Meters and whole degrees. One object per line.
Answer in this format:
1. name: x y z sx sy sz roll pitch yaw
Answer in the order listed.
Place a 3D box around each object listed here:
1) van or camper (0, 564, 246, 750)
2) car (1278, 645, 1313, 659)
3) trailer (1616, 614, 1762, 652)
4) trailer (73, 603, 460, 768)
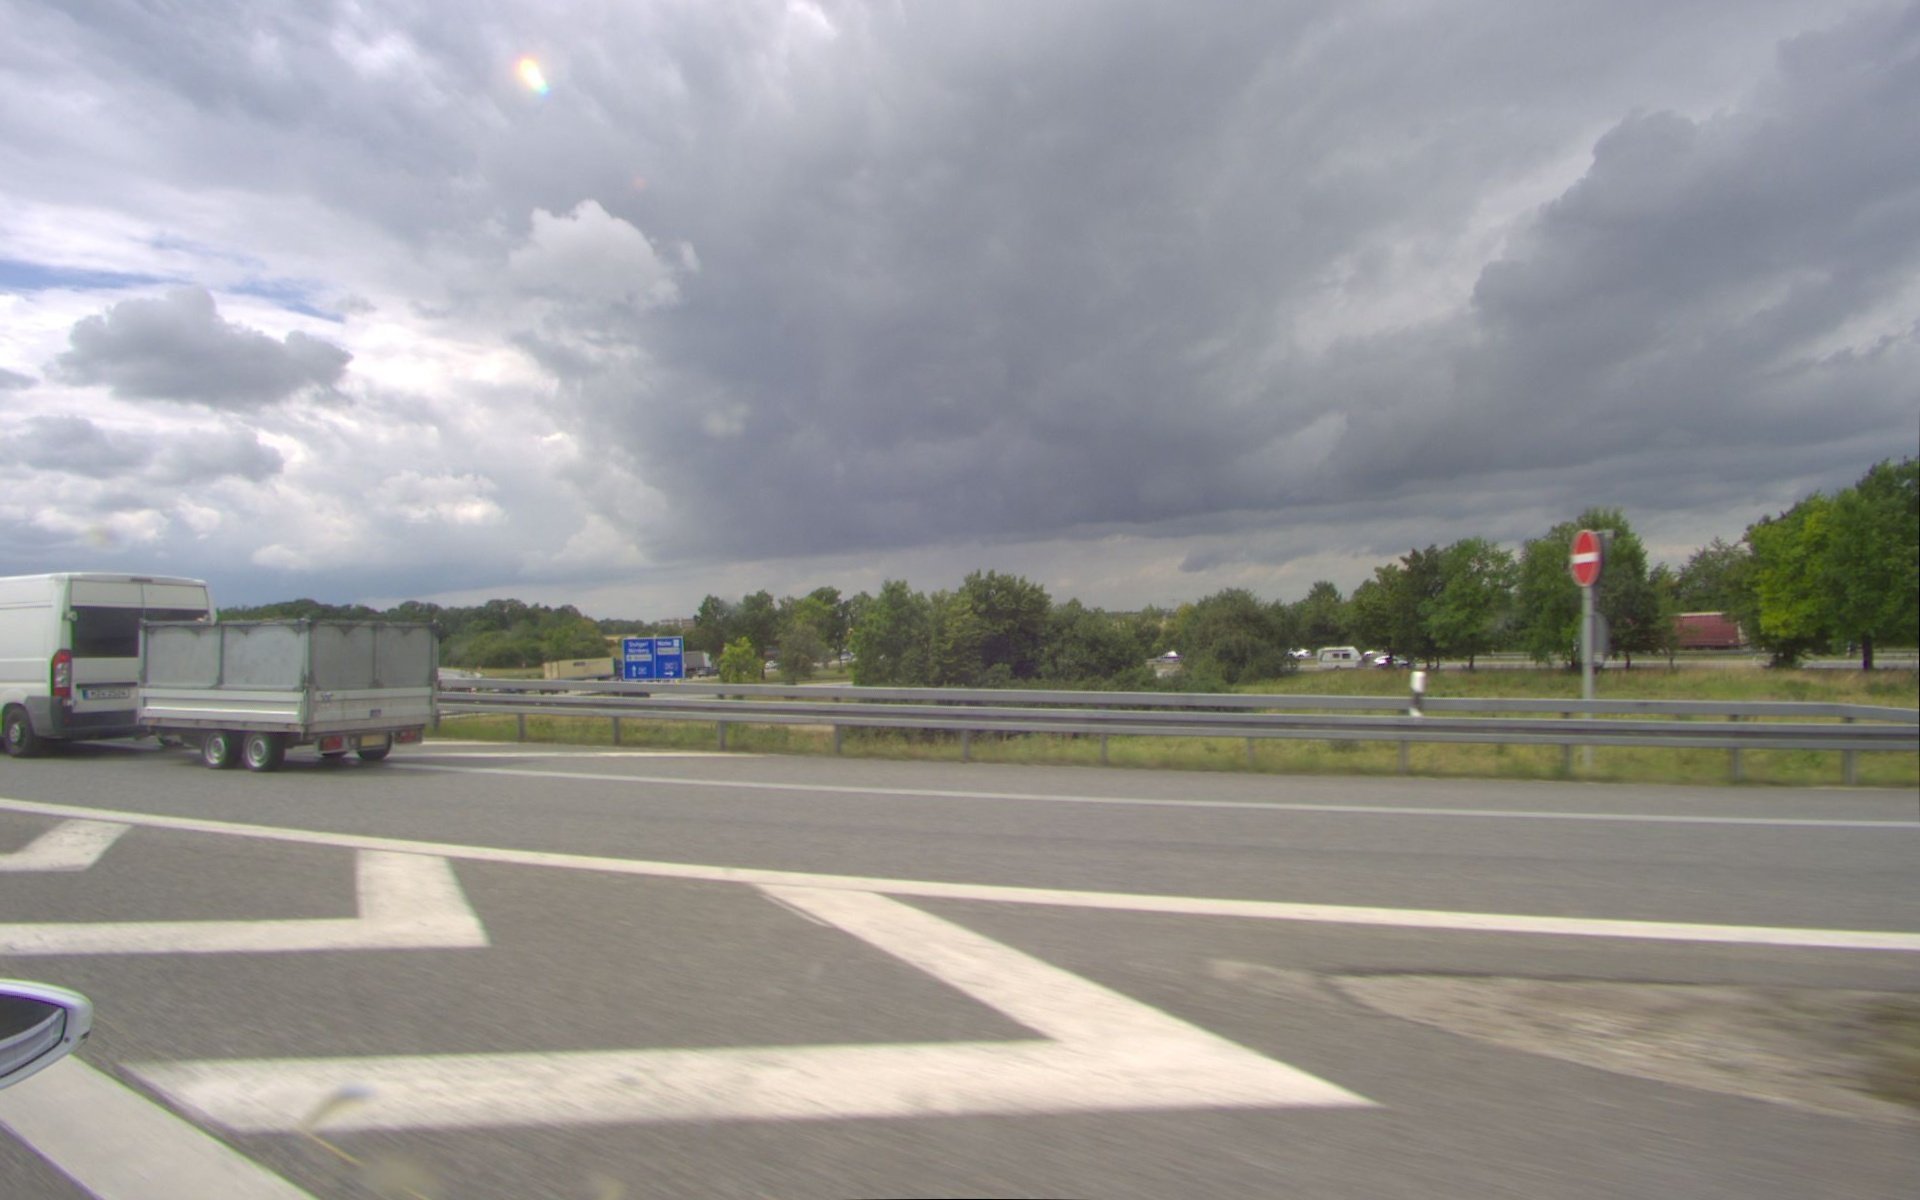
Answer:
1. van or camper: -13.815 0.825 14.993 5.838 2.391 2.227 -1 -2 21
2. car: 43.865 6.848 131.063 3.957 1.806 1.888 -2 -3 42
3. trailer: 71.619 3.324 98.856 3.083 3.492 11.654 1 -3 -24
4. trailer: -9.009 1.045 13.060 4.429 1.864 1.997 -1 -2 21
